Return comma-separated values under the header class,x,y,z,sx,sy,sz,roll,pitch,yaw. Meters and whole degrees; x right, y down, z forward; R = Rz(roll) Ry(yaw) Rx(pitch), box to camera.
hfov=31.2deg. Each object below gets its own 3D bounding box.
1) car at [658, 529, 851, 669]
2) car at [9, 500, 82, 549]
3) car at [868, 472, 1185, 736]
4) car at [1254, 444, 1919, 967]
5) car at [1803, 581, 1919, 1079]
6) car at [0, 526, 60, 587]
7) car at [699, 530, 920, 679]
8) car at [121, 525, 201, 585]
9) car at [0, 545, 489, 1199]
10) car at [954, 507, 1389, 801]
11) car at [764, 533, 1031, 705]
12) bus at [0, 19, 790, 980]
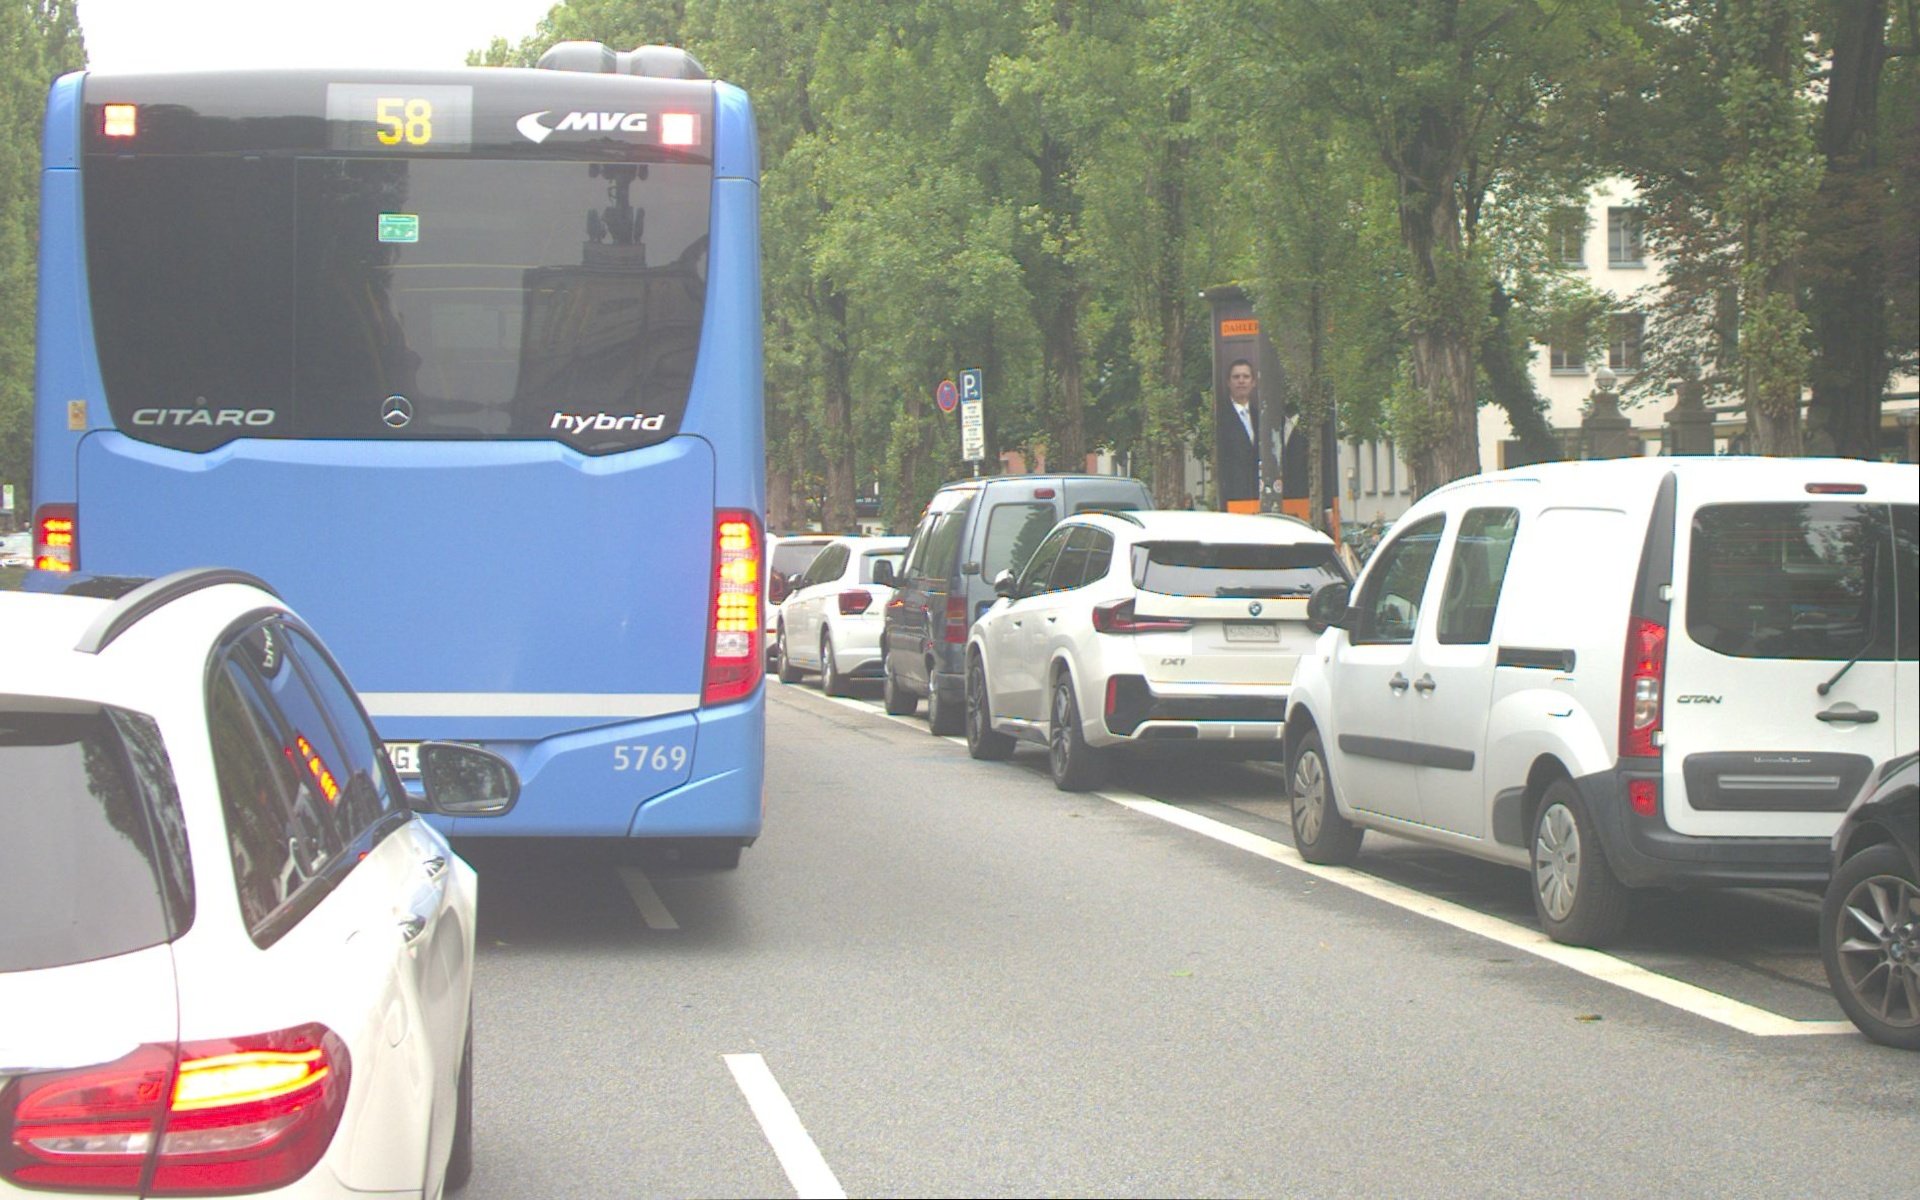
class,x,y,z,sx,sy,sz,roll,pitch,yaw
car,-2.585,-0.054,42.416,1.808,1.612,4.001,-1,2,-12
car,-30.859,-2.564,116.091,1.993,1.587,4.445,-1,2,-10
car,0.419,-0.016,26.051,1.703,1.829,4.001,1,1,-9
car,2.692,0.330,13.867,1.832,1.767,4.232,1,1,-12
car,3.687,0.665,8.370,1.746,1.349,4.001,0,1,-9
car,-23.577,-1.103,85.957,1.821,1.481,4.001,-1,2,-11
car,-1.687,0.000,37.330,1.785,1.486,4.001,-1,2,-11
car,-22.138,-1.265,95.400,1.993,1.613,4.001,-1,1,-11
car,-1.765,0.642,5.962,1.825,1.449,4.584,0,1,-7
car,1.164,0.250,20.852,1.677,1.590,4.088,1,1,-10
car,-0.655,0.126,32.289,1.798,1.470,4.001,-1,2,-12
bus,-2.310,-0.446,16.054,2.855,3.202,9.061,0,1,-4
